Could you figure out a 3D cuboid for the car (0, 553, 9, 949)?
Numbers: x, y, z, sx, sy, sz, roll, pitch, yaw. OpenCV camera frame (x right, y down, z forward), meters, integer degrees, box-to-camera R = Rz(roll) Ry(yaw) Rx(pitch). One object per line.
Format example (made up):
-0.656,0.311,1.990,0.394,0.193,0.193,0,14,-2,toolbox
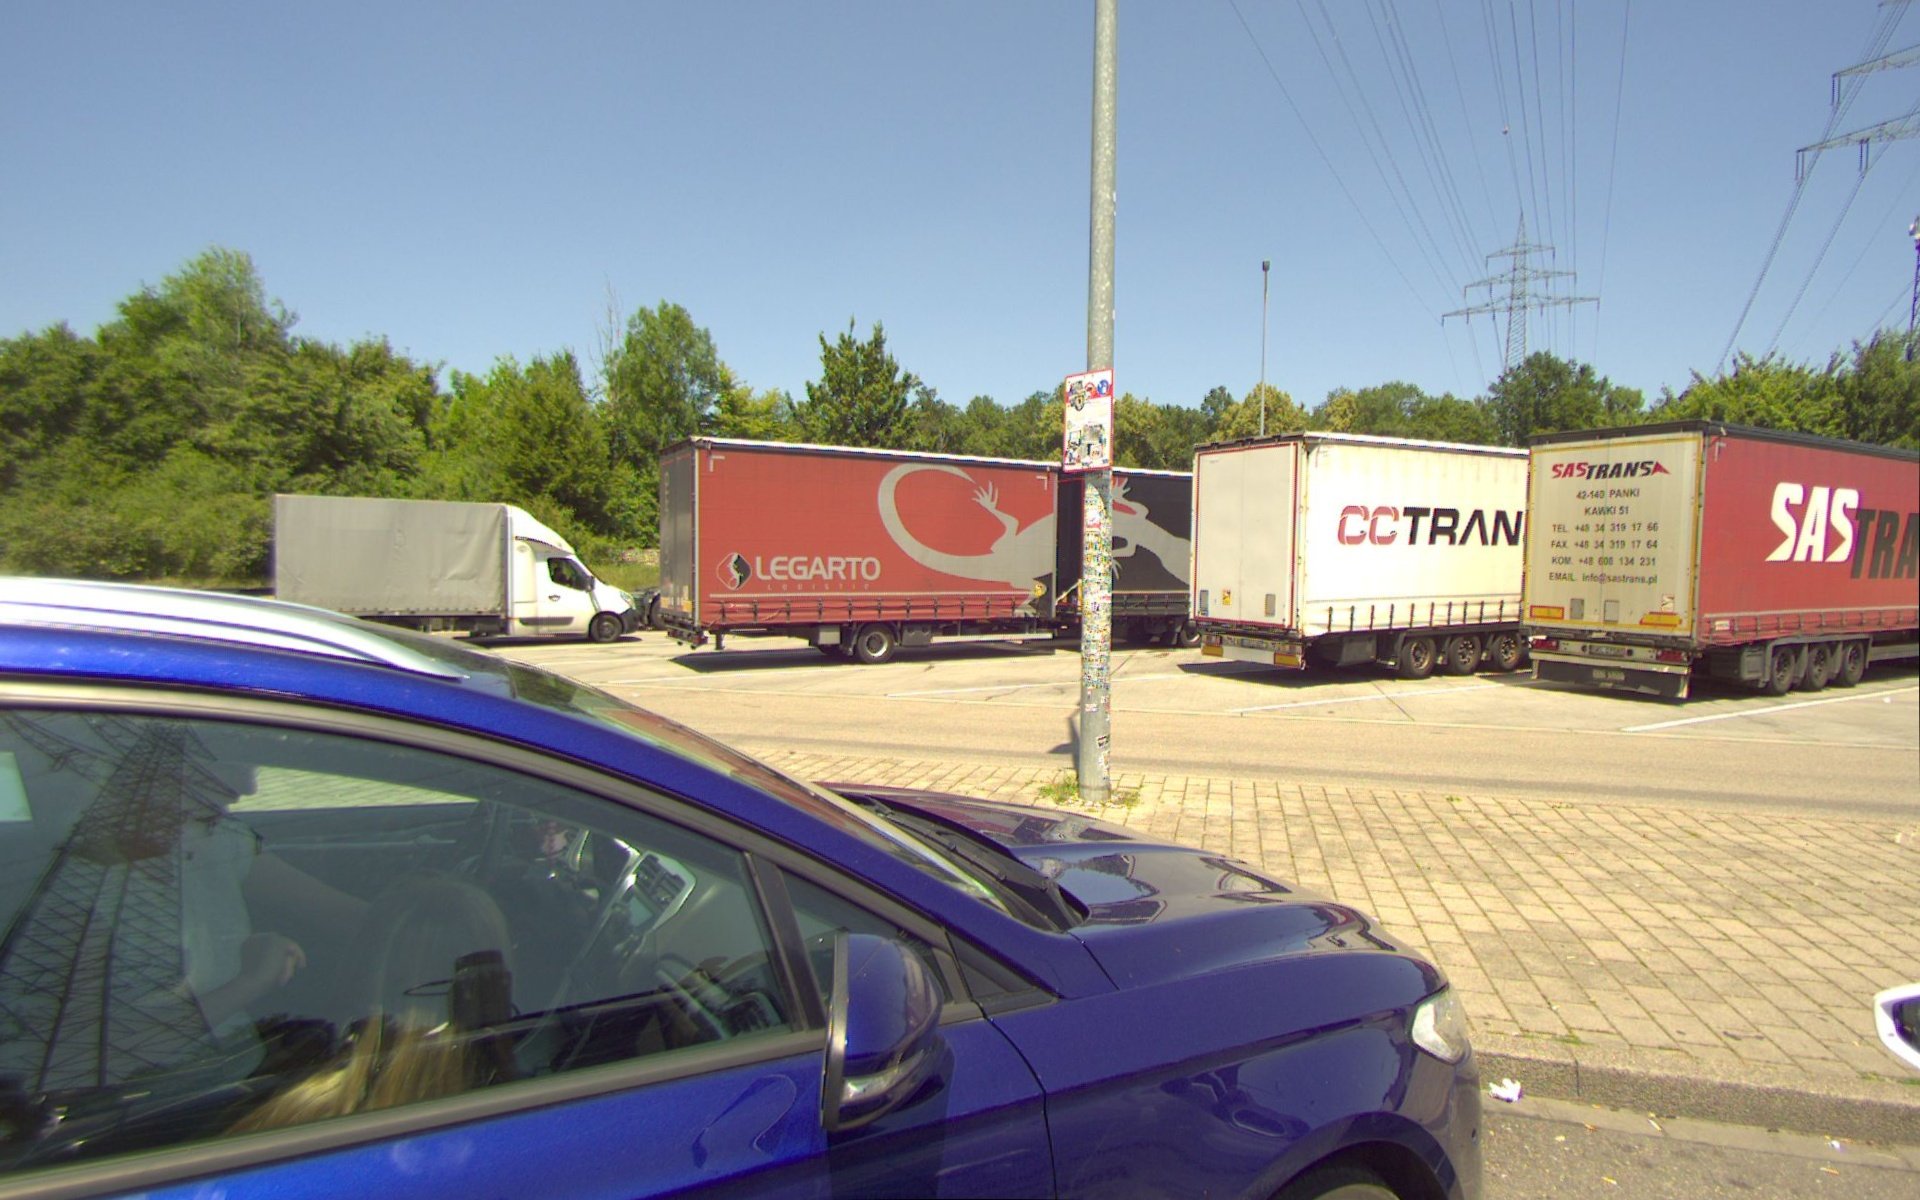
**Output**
-4.360,0.514,2.184,3.077,1.378,1.334,1,0,-30,car

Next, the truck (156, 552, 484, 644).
-15.342,-0.033,24.615,6.538,2.040,1.984,0,0,-31,truck

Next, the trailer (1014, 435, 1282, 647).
4.564,-1.248,24.098,6.076,4.505,2.665,0,1,-30,trailer

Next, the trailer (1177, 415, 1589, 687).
8.108,-0.757,18.827,8.189,4.208,2.741,0,1,-30,trailer

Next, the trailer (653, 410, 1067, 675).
-1.844,-0.964,20.263,7.963,4.510,2.648,0,0,-31,trailer

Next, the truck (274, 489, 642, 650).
-11.119,-0.593,22.782,7.171,3.194,2.160,0,1,-30,truck

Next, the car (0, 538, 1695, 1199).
-0.972,0.673,1.481,4.362,1.437,1.731,1,0,-30,car

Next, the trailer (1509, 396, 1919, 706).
15.243,-0.649,18.419,13.046,4.276,2.786,0,0,-31,trailer

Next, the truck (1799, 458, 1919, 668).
21.427,-0.727,22.054,5.824,4.189,2.792,0,0,-30,truck
